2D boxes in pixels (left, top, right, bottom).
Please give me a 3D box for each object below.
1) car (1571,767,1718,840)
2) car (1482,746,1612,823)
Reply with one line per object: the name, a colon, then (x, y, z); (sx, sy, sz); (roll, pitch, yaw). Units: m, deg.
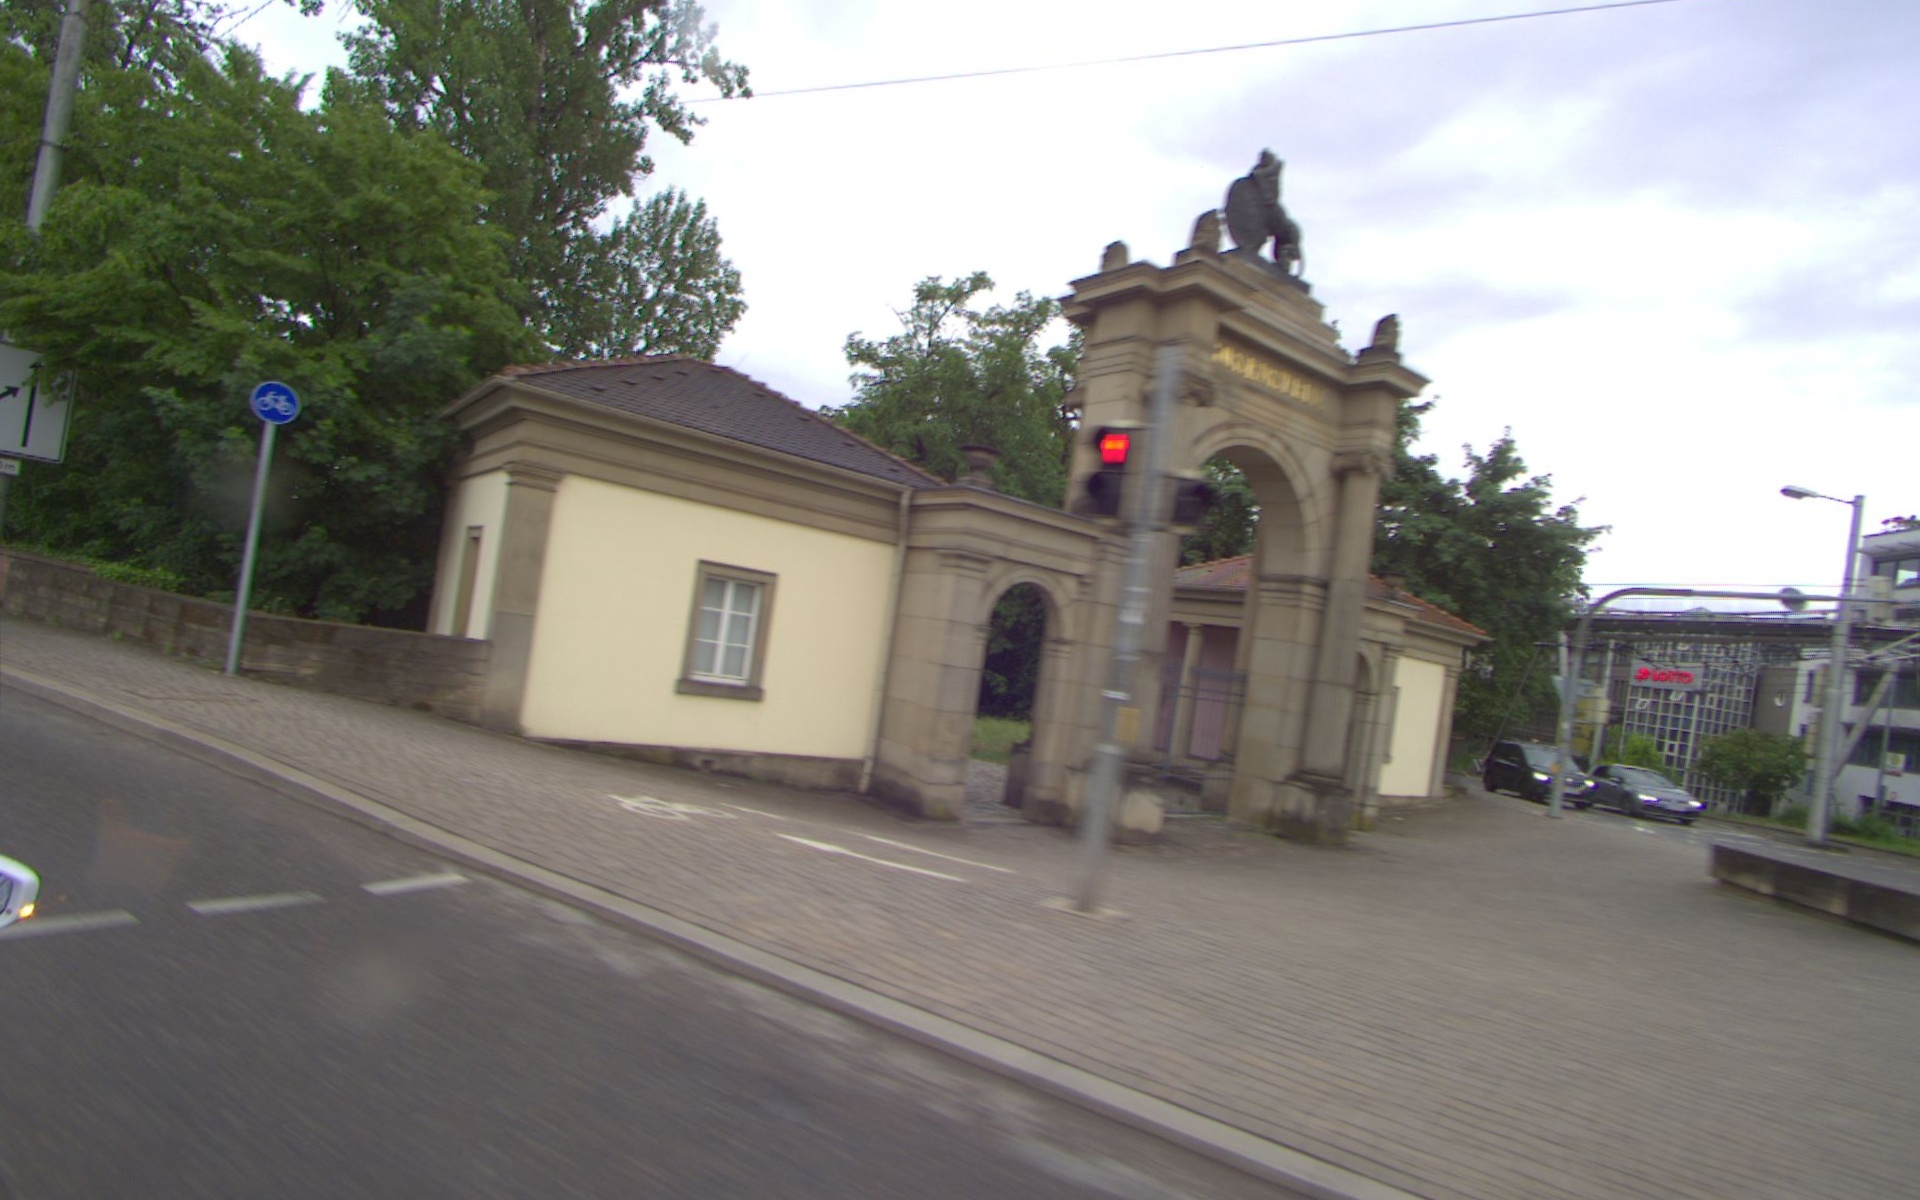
car: (20.689, 6.106, 30.642); (1.962, 1.471, 4.271); (6, -4, 9)
car: (18.189, 5.667, 31.426); (1.962, 1.753, 4.271); (6, -4, 9)
